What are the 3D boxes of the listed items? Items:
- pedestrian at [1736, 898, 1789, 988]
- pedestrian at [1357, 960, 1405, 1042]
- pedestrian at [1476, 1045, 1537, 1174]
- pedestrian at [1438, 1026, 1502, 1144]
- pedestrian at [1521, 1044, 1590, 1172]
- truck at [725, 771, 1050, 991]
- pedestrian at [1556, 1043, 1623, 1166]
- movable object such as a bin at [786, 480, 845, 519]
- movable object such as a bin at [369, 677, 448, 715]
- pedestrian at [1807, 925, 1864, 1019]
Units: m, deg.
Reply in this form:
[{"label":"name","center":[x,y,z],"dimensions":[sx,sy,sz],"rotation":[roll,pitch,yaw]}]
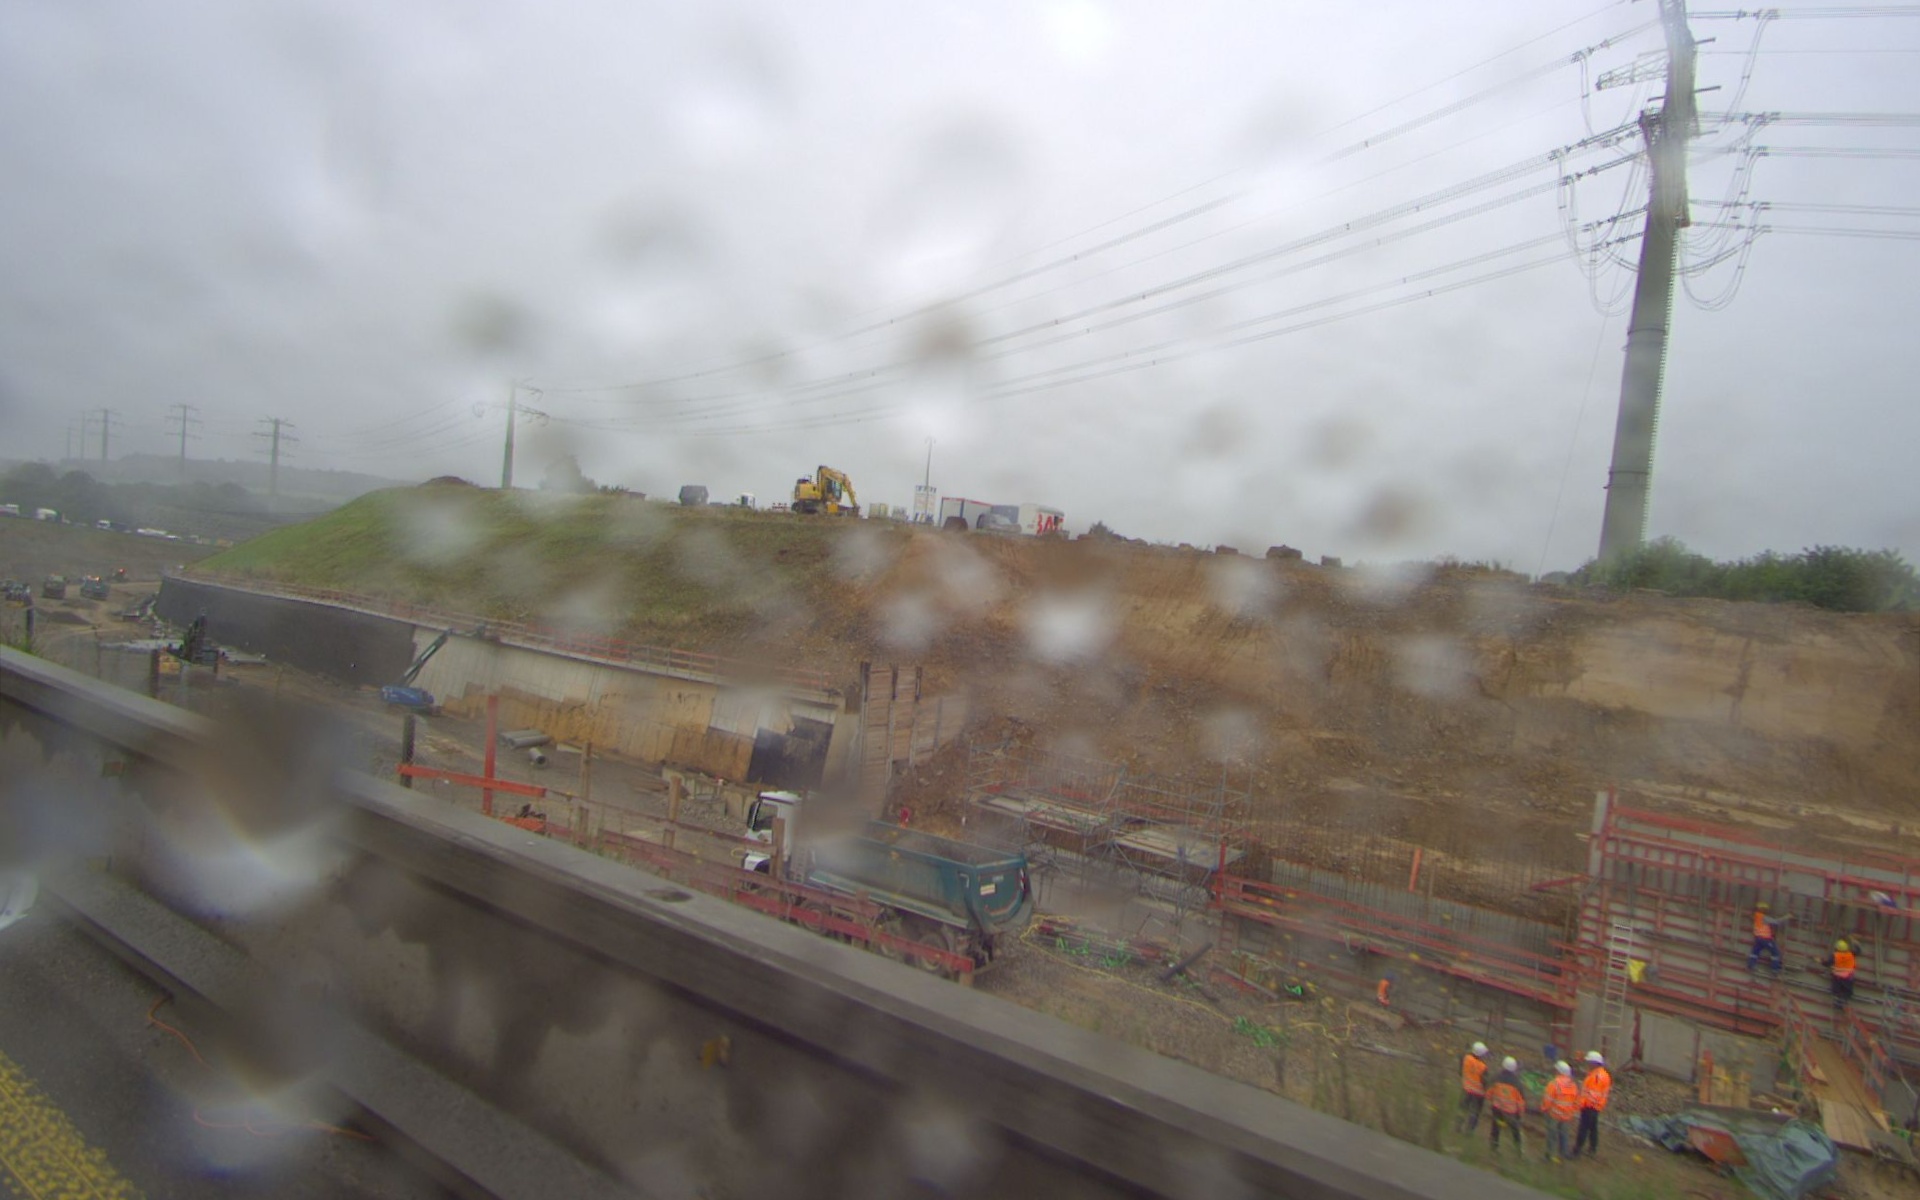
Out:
[{"label":"pedestrian","center":[20.663,8.808,25.909],"dimensions":[0.885,2.013,0.908],"rotation":[5,-11,35]},{"label":"pedestrian","center":[12.186,11.560,29.080],"dimensions":[0.891,2.013,0.901],"rotation":[5,-11,35]},{"label":"pedestrian","center":[9.922,9.212,18.259],"dimensions":[0.724,1.892,0.573],"rotation":[6,-1,38]},{"label":"pedestrian","center":[9.719,9.220,19.182],"dimensions":[0.567,1.892,0.731],"rotation":[6,-1,-22]},{"label":"pedestrian","center":[10.822,9.221,18.294],"dimensions":[0.721,1.967,0.575],"rotation":[6,0,3]},{"label":"truck","center":[-2.231,7.289,27.570],"dimensions":[8.925,3.532,2.731],"rotation":[5,-2,36]},{"label":"pedestrian","center":[11.686,9.338,18.674],"dimensions":[0.725,1.967,0.573],"rotation":[6,0,-21]},{"label":"movable object such as a bin","center":[-11.585,-8.034,80.459],"dimensions":[3.910,2.473,2.428],"rotation":[8,0,39]},{"label":"movable object such as a bin","center":[-35.511,6.176,64.845],"dimensions":[3.772,2.036,2.001],"rotation":[6,-3,-6]},{"label":"pedestrian","center":[21.790,9.231,25.050],"dimensions":[0.885,2.013,0.908],"rotation":[5,-11,35]}]
